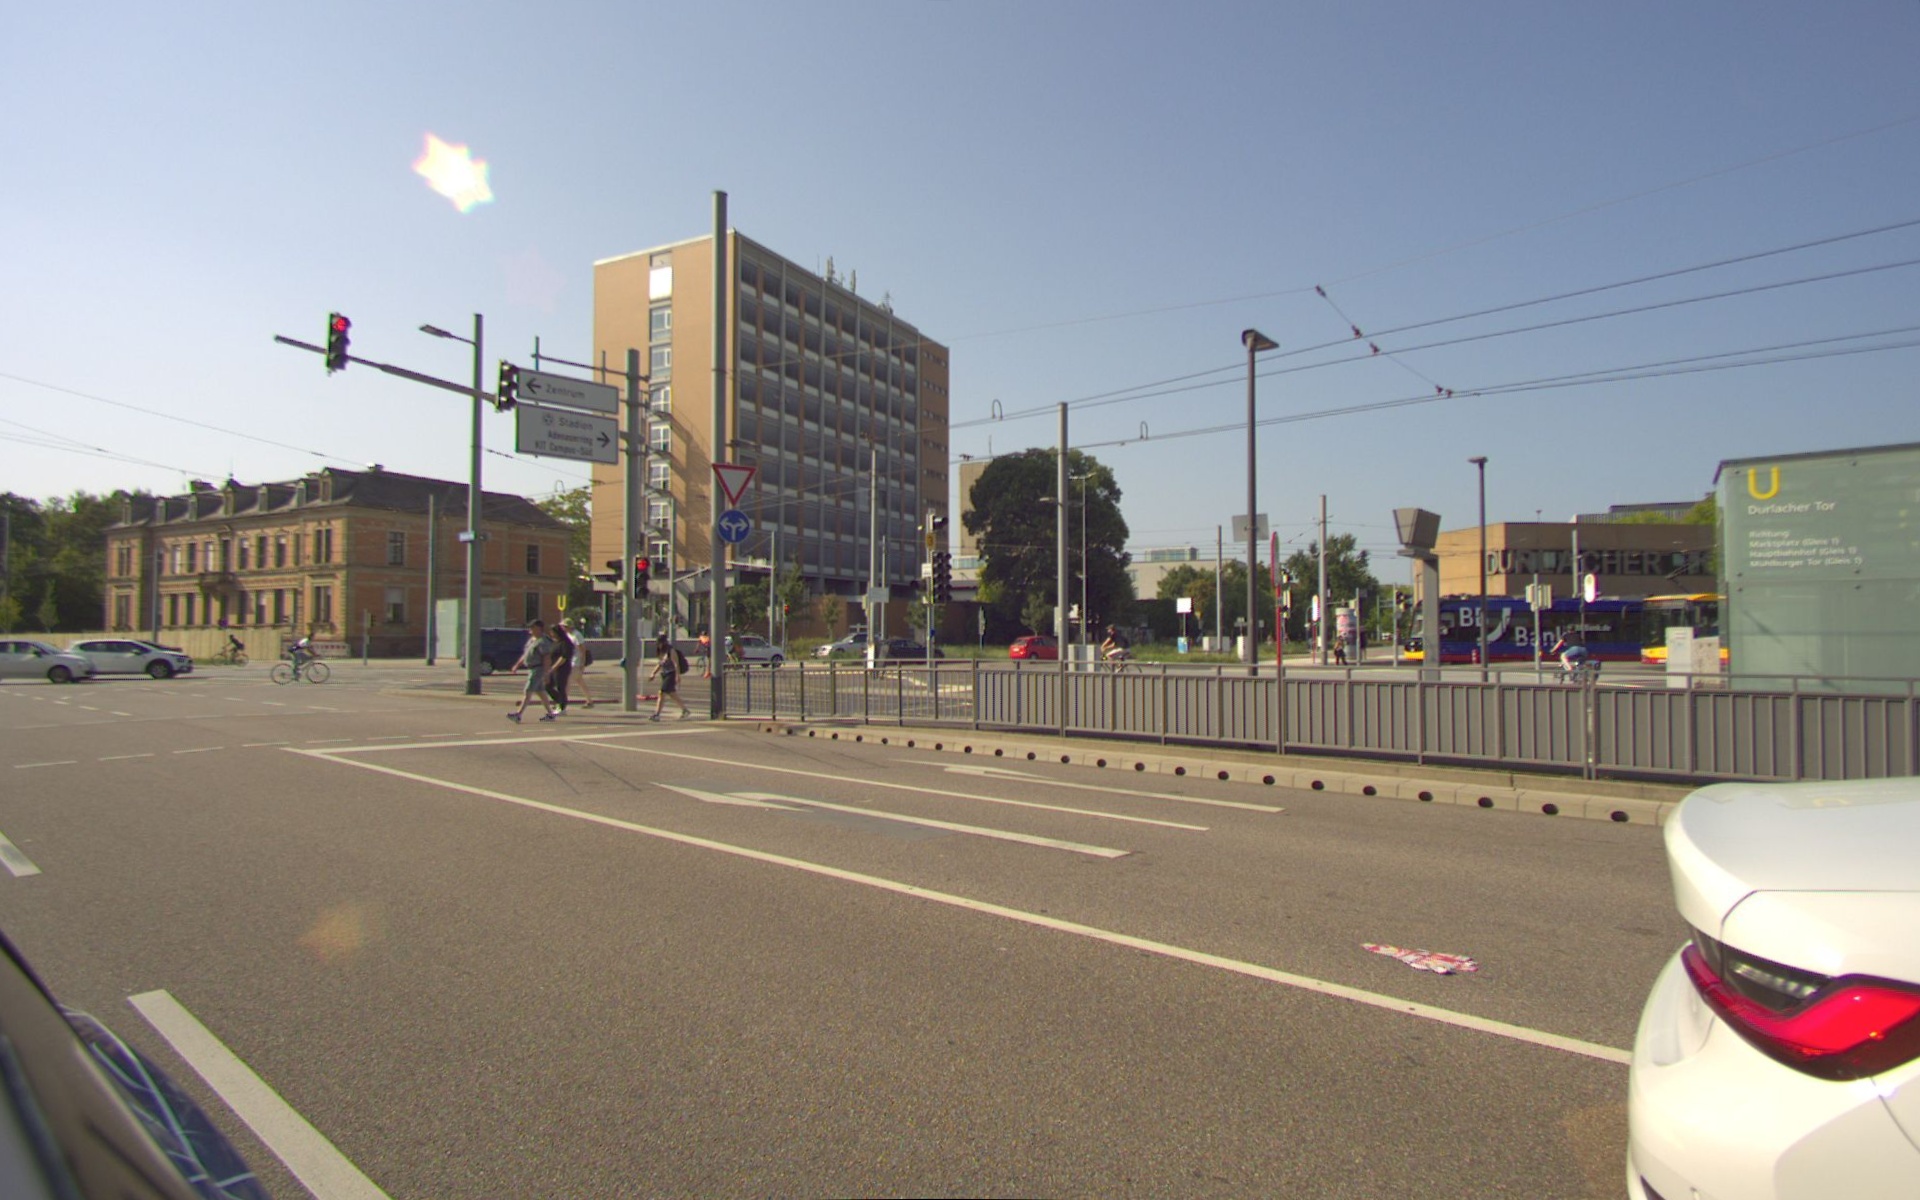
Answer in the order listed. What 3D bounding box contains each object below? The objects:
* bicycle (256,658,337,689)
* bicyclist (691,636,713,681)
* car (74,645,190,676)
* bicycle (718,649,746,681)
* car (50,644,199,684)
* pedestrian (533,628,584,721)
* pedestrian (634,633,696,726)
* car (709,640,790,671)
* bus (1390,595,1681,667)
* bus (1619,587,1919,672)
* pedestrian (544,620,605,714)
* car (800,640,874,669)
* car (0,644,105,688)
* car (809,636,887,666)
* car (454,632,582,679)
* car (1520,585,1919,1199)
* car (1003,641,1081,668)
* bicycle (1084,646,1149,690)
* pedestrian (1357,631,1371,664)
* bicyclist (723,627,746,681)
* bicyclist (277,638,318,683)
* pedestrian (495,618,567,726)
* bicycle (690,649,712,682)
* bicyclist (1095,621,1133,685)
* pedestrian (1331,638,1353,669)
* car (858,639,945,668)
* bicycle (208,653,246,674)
[{"bbox_3d":[-22.026,2.430,33.652,2.159,0.997,0.531,2,-2,-25],"label":"bicycle"},{"bbox_3d":[-9.420,2.135,36.949,0.503,1.643,0.809,1,-3,-35],"label":"bicyclist"},{"bbox_3d":[-41.428,3.022,50.756,4.251,1.477,1.679,1,-5,-30],"label":"car"},{"bbox_3d":[-8.602,2.437,38.090,0.371,1.174,1.864,1,-3,-34],"label":"bicycle"},{"bbox_3d":[-31.147,2.369,37.868,3.930,1.426,1.809,1,-3,-25],"label":"car"},{"bbox_3d":[-7.128,1.316,17.976,0.467,1.610,0.626,-2,-5,39],"label":"pedestrian"},{"bbox_3d":[-5.101,1.375,17.537,0.548,1.560,0.799,-2,-6,42],"label":"pedestrian"},{"bbox_3d":[-10.259,2.665,49.313,3.496,1.446,1.808,1,-3,-31],"label":"car"},{"bbox_3d":[28.704,1.531,50.747,13.111,3.445,3.229,0,-3,-6],"label":"bus"},{"bbox_3d":[33.557,1.187,40.348,13.107,3.203,3.230,0,-3,-7],"label":"bus"},{"bbox_3d":[-7.552,1.314,19.825,0.822,1.802,0.730,5,-6,-42],"label":"pedestrian"},{"bbox_3d":[-7.776,3.454,63.947,4.217,1.720,1.931,1,-5,-32],"label":"car"},{"bbox_3d":[-31.419,2.227,34.194,3.553,1.426,1.809,1,-3,-29],"label":"car"},{"bbox_3d":[-6.749,3.059,60.996,4.217,1.720,1.957,1,-5,-33],"label":"car"},{"bbox_3d":[-17.964,2.237,41.183,4.690,1.842,1.809,1,-3,-26],"label":"car"},{"bbox_3d":[3.235,0.636,0.624,4.771,1.438,1.790,-3,-1,41],"label":"car"},{"bbox_3d":[4.488,2.933,55.112,3.932,1.426,1.808,1,-3,-33],"label":"car"},{"bbox_3d":[4.113,1.784,26.683,1.745,1.118,0.397,-2,-3,40],"label":"bicycle"},{"bbox_3d":[22.095,2.578,55.333,0.551,1.782,0.403,0,-3,-3],"label":"pedestrian"},{"bbox_3d":[-8.426,2.030,37.847,0.571,1.989,0.809,1,-3,-35],"label":"bicyclist"},{"bbox_3d":[-22.017,1.997,33.638,0.955,1.486,1.091,1,-3,-26],"label":"bicyclist"},{"bbox_3d":[-7.011,1.177,16.553,0.651,1.706,0.805,-2,-6,41],"label":"pedestrian"},{"bbox_3d":[-9.477,2.401,37.011,0.306,1.174,1.503,1,-3,-34],"label":"bicycle"},{"bbox_3d":[4.060,1.396,26.708,0.790,1.669,0.581,-2,-3,41],"label":"bicyclist"},{"bbox_3d":[16.030,2.239,42.478,0.549,1.302,0.769,0,-3,-6],"label":"pedestrian"},{"bbox_3d":[-3.131,2.831,54.016,4.276,1.463,1.808,1,-3,-31],"label":"car"},{"bbox_3d":[-42.402,3.684,58.569,1.742,1.203,0.403,1,-3,-28],"label":"bicycle"}]
